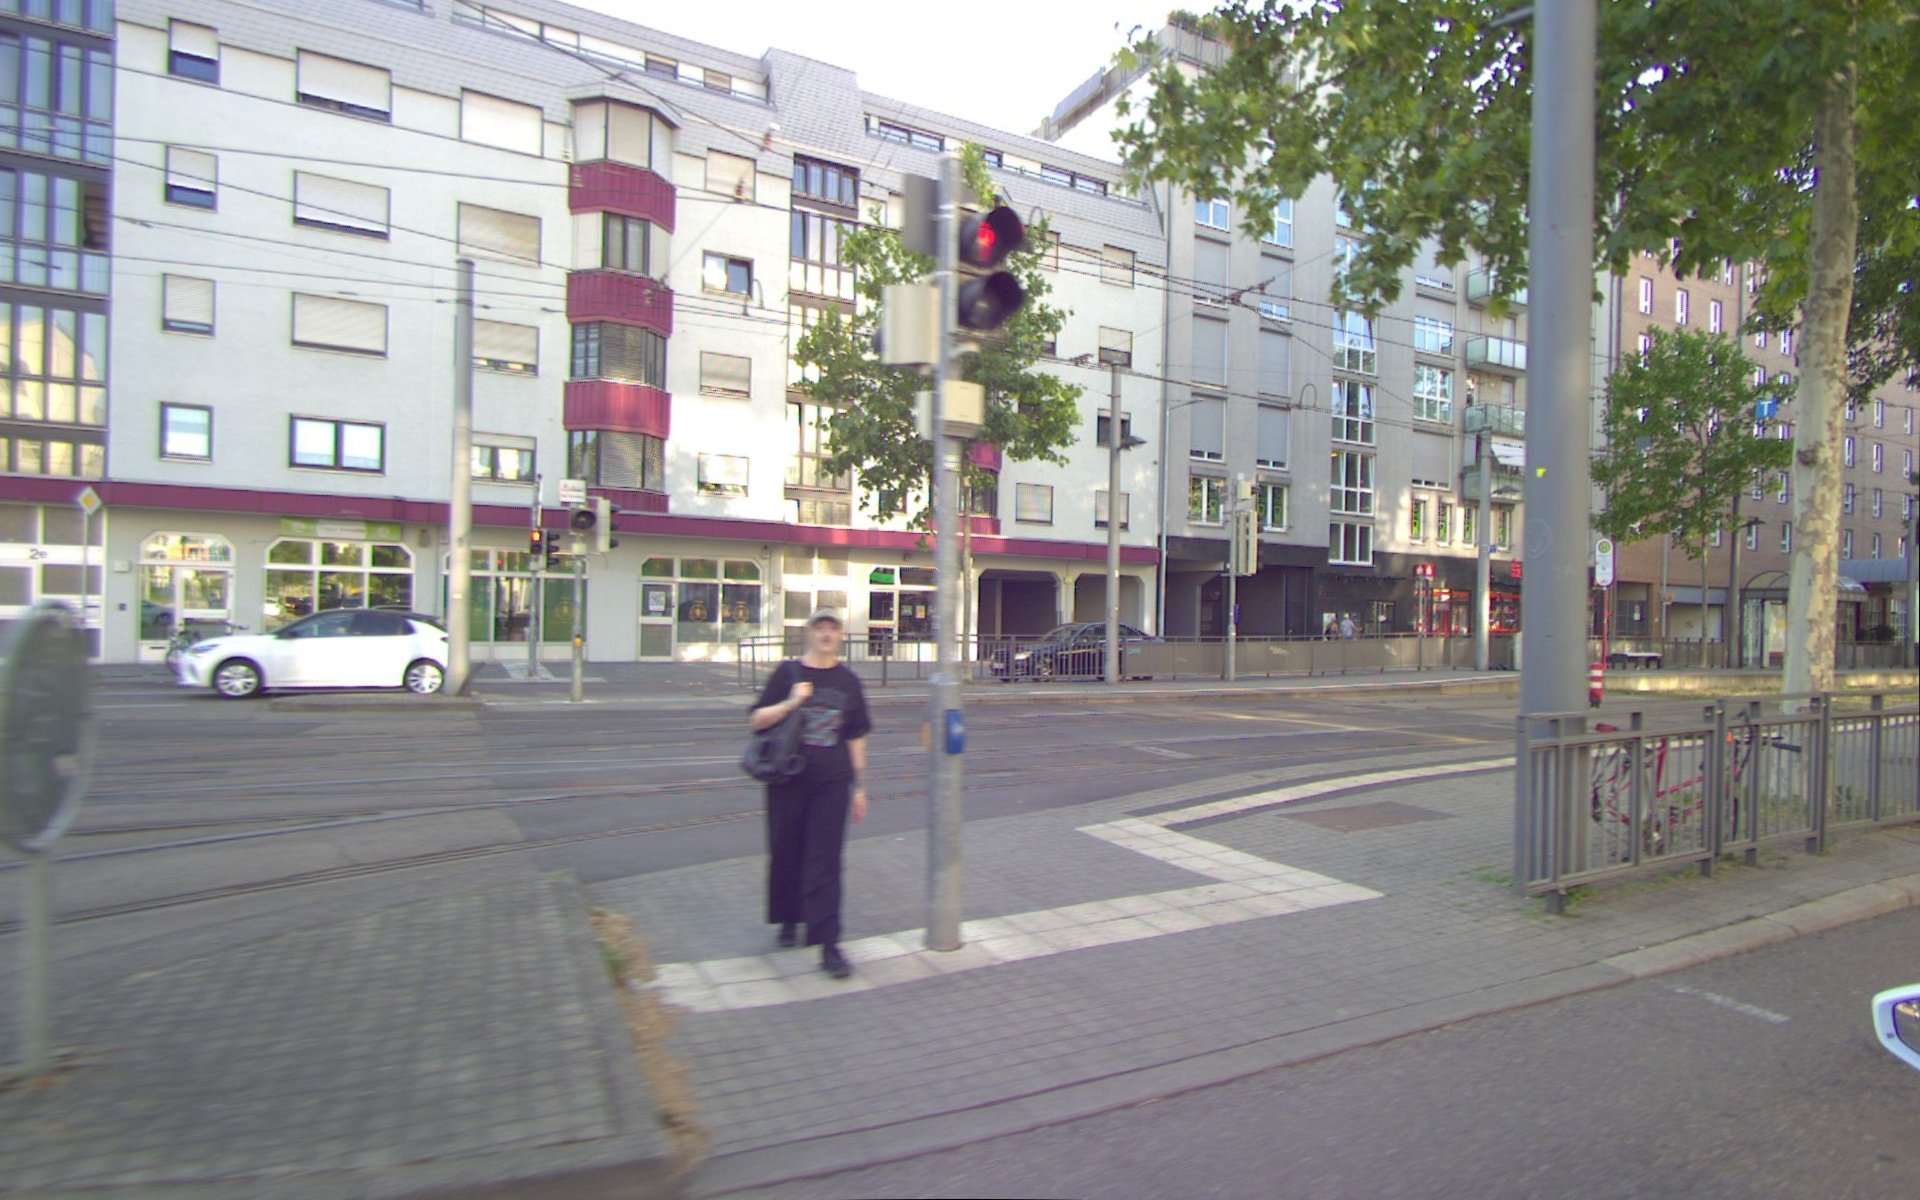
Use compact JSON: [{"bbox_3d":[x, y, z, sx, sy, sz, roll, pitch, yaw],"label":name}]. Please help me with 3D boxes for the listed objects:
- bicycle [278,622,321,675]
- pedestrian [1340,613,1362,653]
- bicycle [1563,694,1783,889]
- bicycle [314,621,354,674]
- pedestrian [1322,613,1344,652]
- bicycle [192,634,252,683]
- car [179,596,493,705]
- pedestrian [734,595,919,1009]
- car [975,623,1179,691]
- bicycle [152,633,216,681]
[{"bbox_3d":[-13.262,0.951,20.201,0.546,0.998,1.835,1,-1,-29],"label":"bicycle"},{"bbox_3d":[14.902,1.270,38.290,0.581,1.514,0.532,1,-1,-30],"label":"pedestrian"},{"bbox_3d":[4.211,1.086,5.924,1.331,0.961,0.395,-1,0,-22],"label":"bicycle"},{"bbox_3d":[-12.678,0.950,20.373,0.546,0.998,1.835,1,-1,-29],"label":"bicycle"},{"bbox_3d":[14.430,1.251,38.887,0.581,1.514,0.532,1,-1,-30],"label":"pedestrian"},{"bbox_3d":[-14.367,1.126,19.589,0.545,0.865,1.838,1,-1,-24],"label":"bicycle"},{"bbox_3d":[-10.173,0.802,16.776,4.207,1.616,1.947,1,-1,-28],"label":"car"},{"bbox_3d":[-0.611,0.778,4.389,0.682,1.565,1.047,1,-1,-12],"label":"pedestrian"},{"bbox_3d":[2.761,1.296,23.327,4.596,1.418,1.692,2,-1,-30],"label":"car"},{"bbox_3d":[-15.264,1.097,19.794,0.545,0.865,1.838,1,-1,-24],"label":"bicycle"}]
